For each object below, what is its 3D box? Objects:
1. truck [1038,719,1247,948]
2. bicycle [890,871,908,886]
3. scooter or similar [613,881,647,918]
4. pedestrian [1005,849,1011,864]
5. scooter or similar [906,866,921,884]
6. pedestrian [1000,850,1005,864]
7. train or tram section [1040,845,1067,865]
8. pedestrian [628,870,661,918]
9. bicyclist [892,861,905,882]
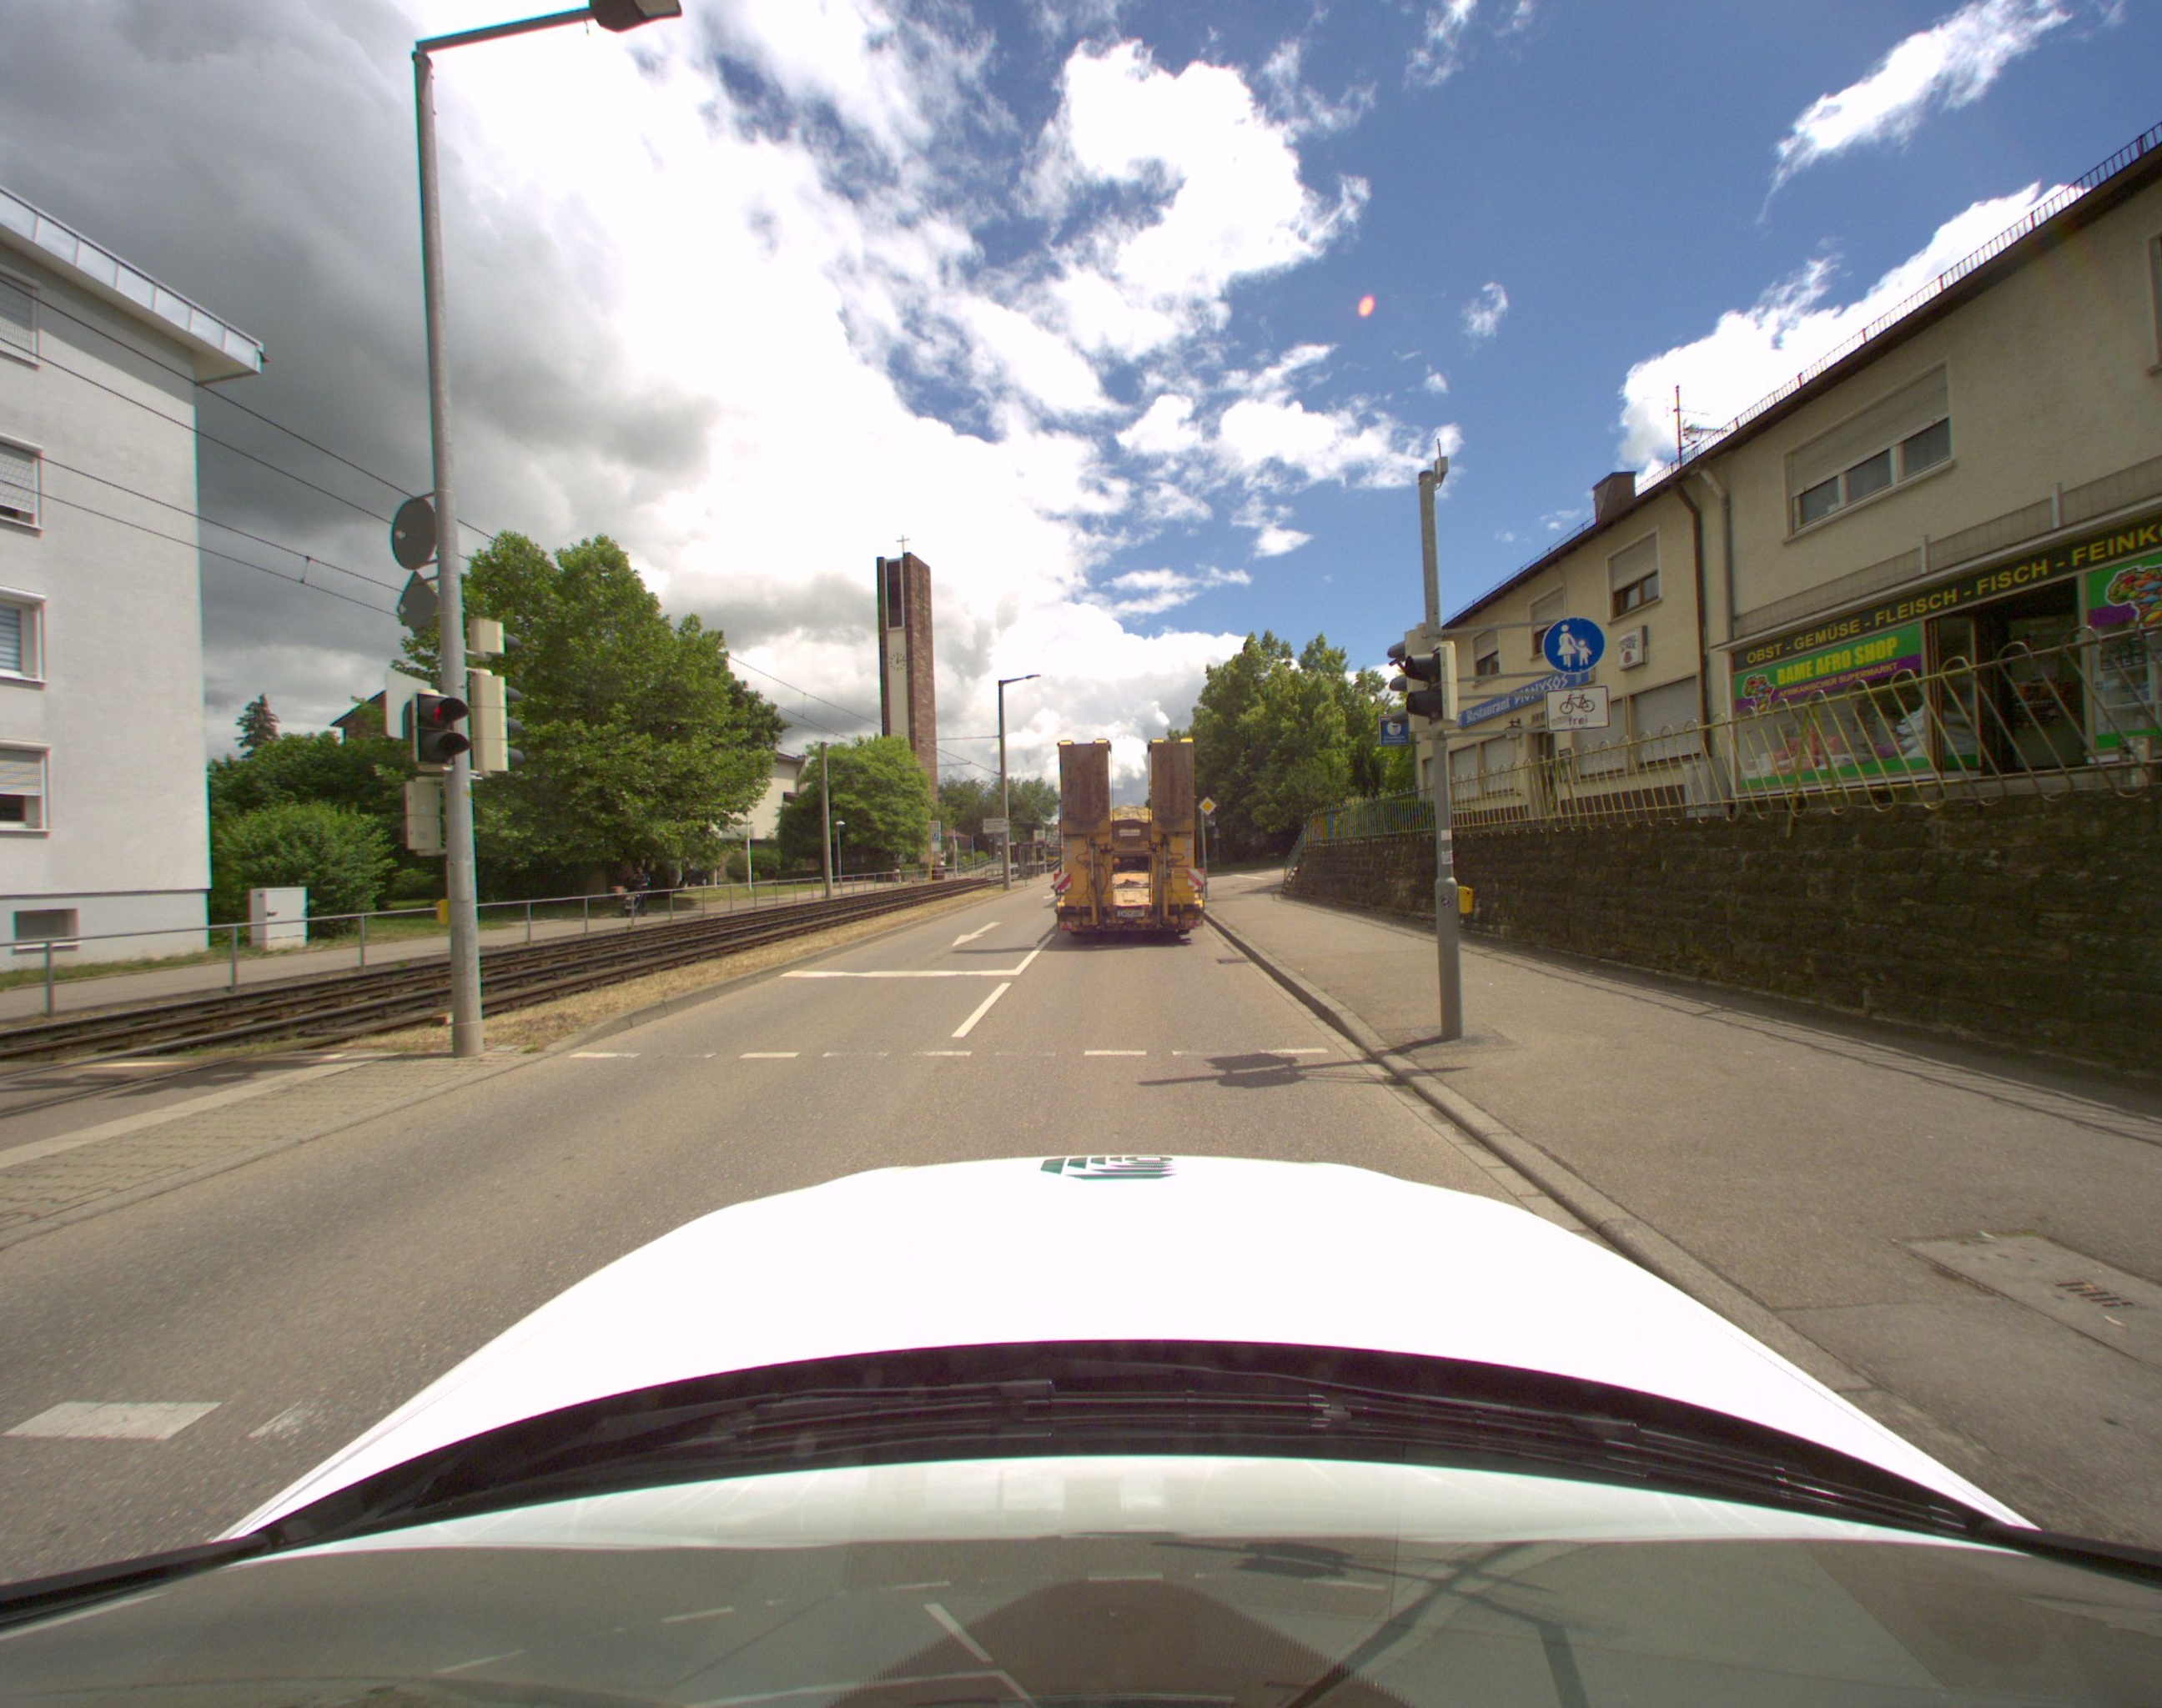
[{"bbox_3d":[1.128,-0.304,20.545,3.390,3.732,13.739,-2,0,1],"label":"truck"},{"bbox_3d":[-12.180,1.623,54.498,0.635,0.994,1.930,0,0,3],"label":"bicycle"},{"bbox_3d":[-14.594,1.466,26.363,0.602,1.115,0.821,-1,-1,1],"label":"scooter or similar"},{"bbox_3d":[-9.494,0.325,105.503,0.709,2.014,0.732,0,-1,1],"label":"pedestrian"},{"bbox_3d":[-11.913,1.470,57.885,0.646,1.237,1.402,-1,0,4],"label":"scooter or similar"},{"bbox_3d":[-9.700,0.363,100.542,0.582,1.778,0.576,0,-1,3],"label":"pedestrian"},{"bbox_3d":[-4.802,0.208,146.902,3.095,3.465,18.840,0,0,3],"label":"train or tram section"},{"bbox_3d":[-14.583,1.324,27.215,0.610,1.540,0.874,-1,-1,1],"label":"pedestrian"},{"bbox_3d":[-12.162,1.157,54.376,0.630,1.429,0.791,0,-1,3],"label":"bicyclist"}]
